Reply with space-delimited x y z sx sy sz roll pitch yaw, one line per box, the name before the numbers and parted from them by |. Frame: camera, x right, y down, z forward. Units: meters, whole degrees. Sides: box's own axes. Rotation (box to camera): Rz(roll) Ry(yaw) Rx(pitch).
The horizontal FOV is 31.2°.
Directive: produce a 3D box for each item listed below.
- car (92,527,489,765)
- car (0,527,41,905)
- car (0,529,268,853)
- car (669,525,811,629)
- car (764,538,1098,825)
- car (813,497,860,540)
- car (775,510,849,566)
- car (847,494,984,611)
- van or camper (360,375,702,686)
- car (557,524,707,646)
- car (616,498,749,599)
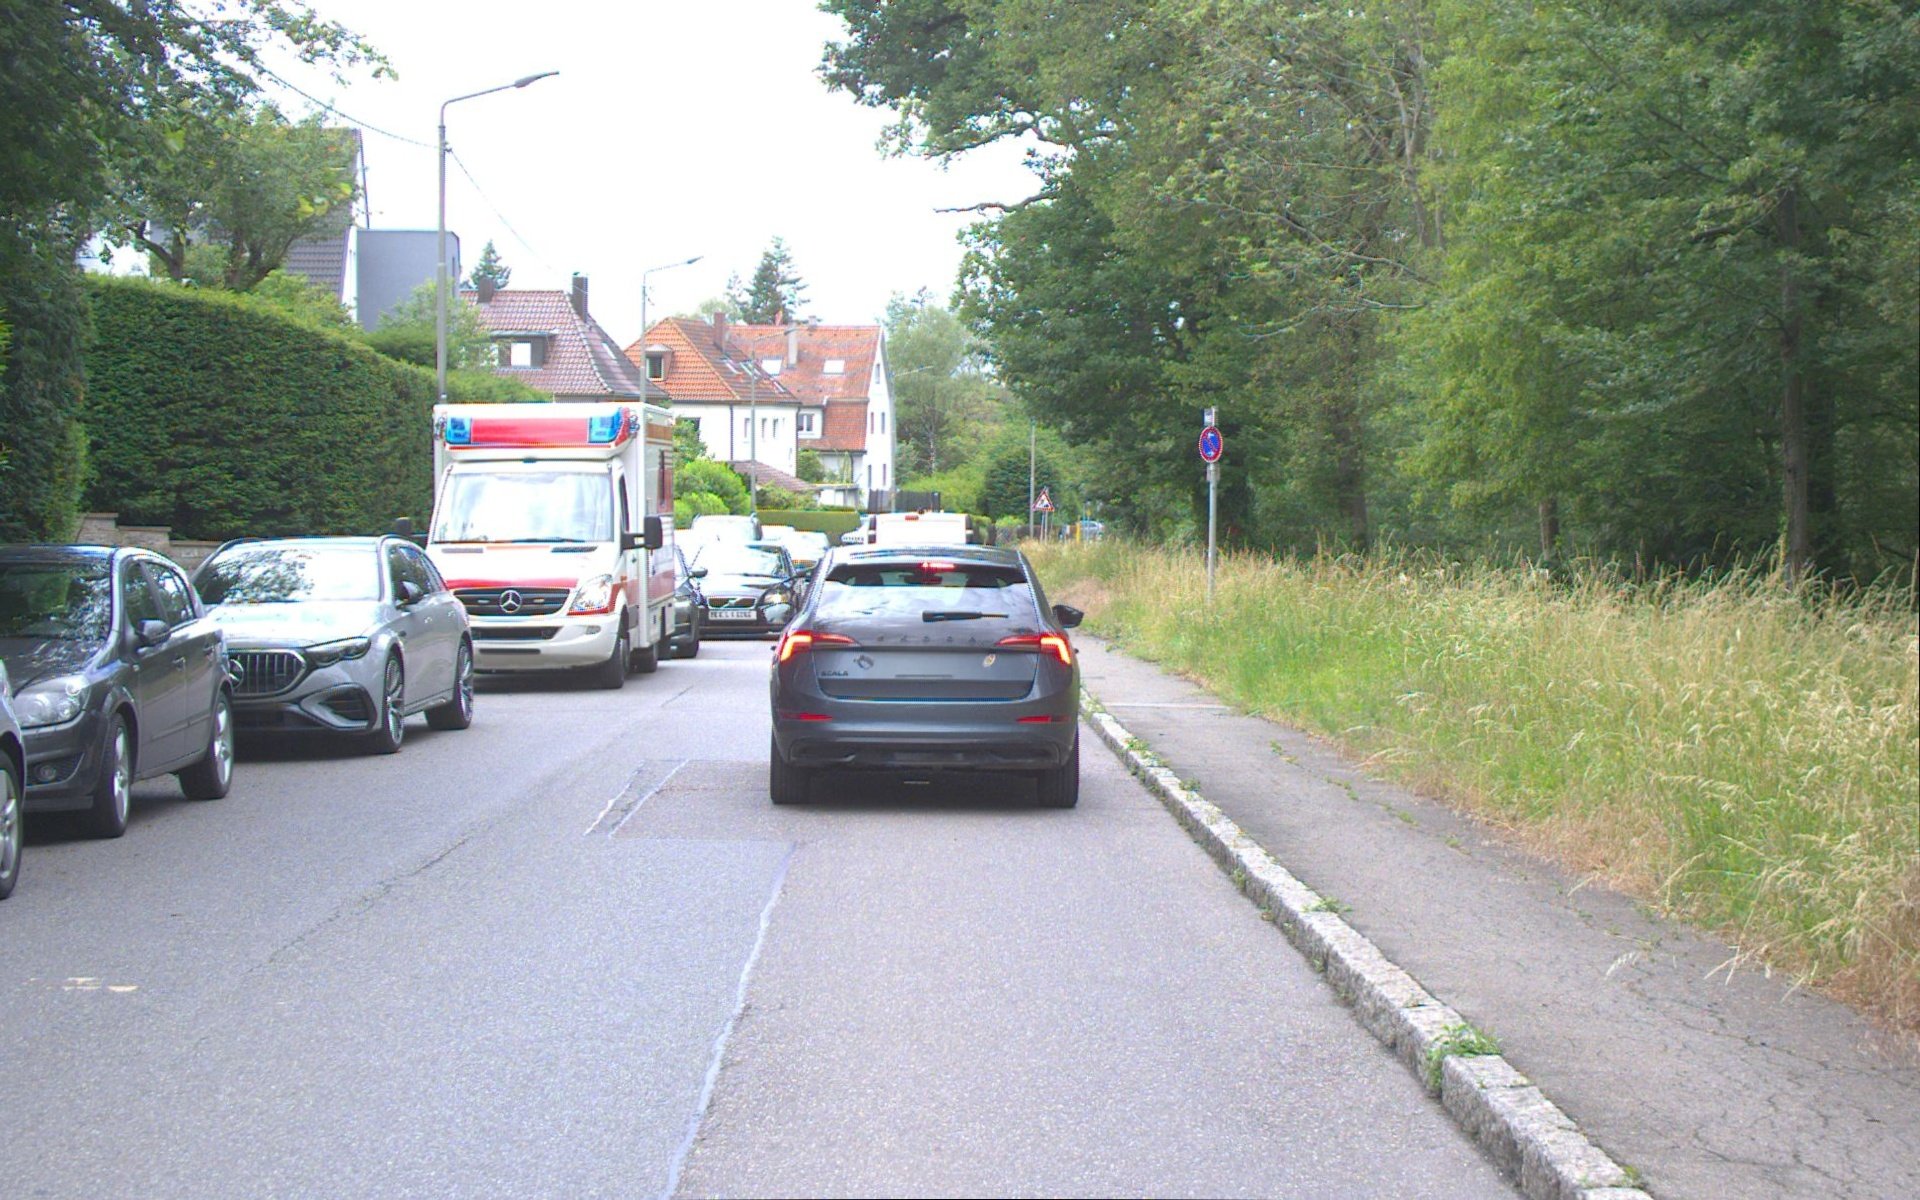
car | -4.691 0.246 24.807 1.798 1.499 4.863 -1 1 1
car | -4.645 0.510 12.277 1.720 1.499 4.008 -2 1 -2
car | -4.890 0.398 18.094 1.720 1.499 4.061 -2 1 -1
car | -3.179 -0.373 50.406 1.763 1.441 4.474 0 1 0
car | -0.276 0.397 20.420 1.727 1.434 4.324 1 2 -4
car | -4.944 -3.284 138.060 1.833 1.591 4.324 1 2 -1
car | -3.938 -1.672 92.230 1.863 1.409 4.593 2 1 -2
car | -0.824 -0.864 60.072 2.071 1.915 4.923 1 2 -4
van or camper | -4.254 -0.730 35.521 2.456 2.885 7.168 0 1 2
car | -4.101 -0.232 43.472 1.763 1.441 4.474 0 1 -4
car | -4.776 -0.917 59.622 1.838 1.643 4.186 -1 1 1
